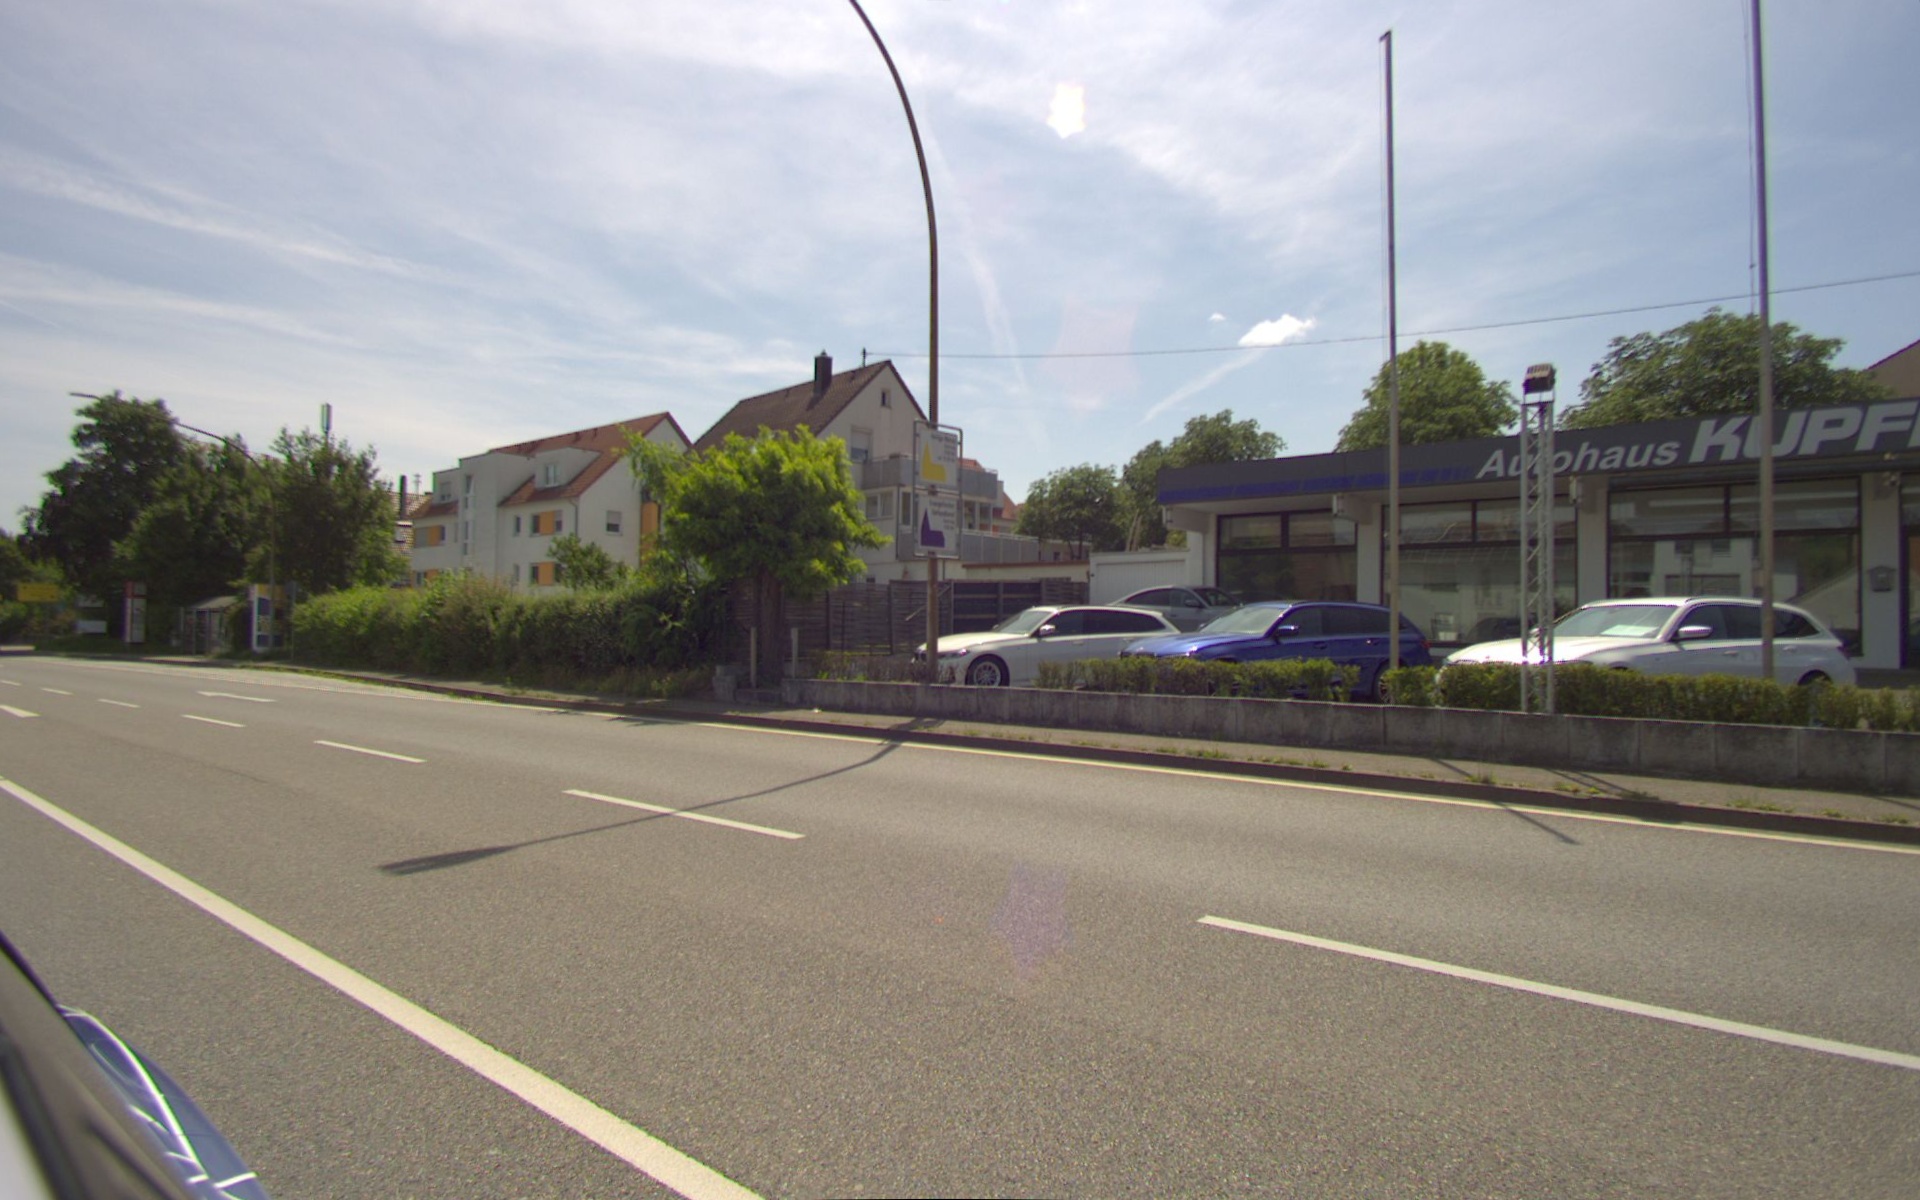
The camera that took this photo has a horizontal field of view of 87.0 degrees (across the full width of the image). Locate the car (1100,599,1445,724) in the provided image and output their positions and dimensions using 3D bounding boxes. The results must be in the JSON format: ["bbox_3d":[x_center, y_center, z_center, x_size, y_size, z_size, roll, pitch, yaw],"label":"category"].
[{"bbox_3d":[4.266,0.743,13.857,4.267,1.458,1.863,-1,0,-21],"label":"car"}]

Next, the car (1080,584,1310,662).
[{"bbox_3d":[4.877,0.467,21.546,1.782,1.475,4.588,-1,-1,-41],"label":"car"}]

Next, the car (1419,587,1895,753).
[{"bbox_3d":[7.452,0.643,10.884,4.438,1.458,1.863,-1,0,-18],"label":"car"}]

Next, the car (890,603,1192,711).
[{"bbox_3d":[1.312,0.838,16.487,4.501,1.458,1.863,-2,1,-21],"label":"car"}]
